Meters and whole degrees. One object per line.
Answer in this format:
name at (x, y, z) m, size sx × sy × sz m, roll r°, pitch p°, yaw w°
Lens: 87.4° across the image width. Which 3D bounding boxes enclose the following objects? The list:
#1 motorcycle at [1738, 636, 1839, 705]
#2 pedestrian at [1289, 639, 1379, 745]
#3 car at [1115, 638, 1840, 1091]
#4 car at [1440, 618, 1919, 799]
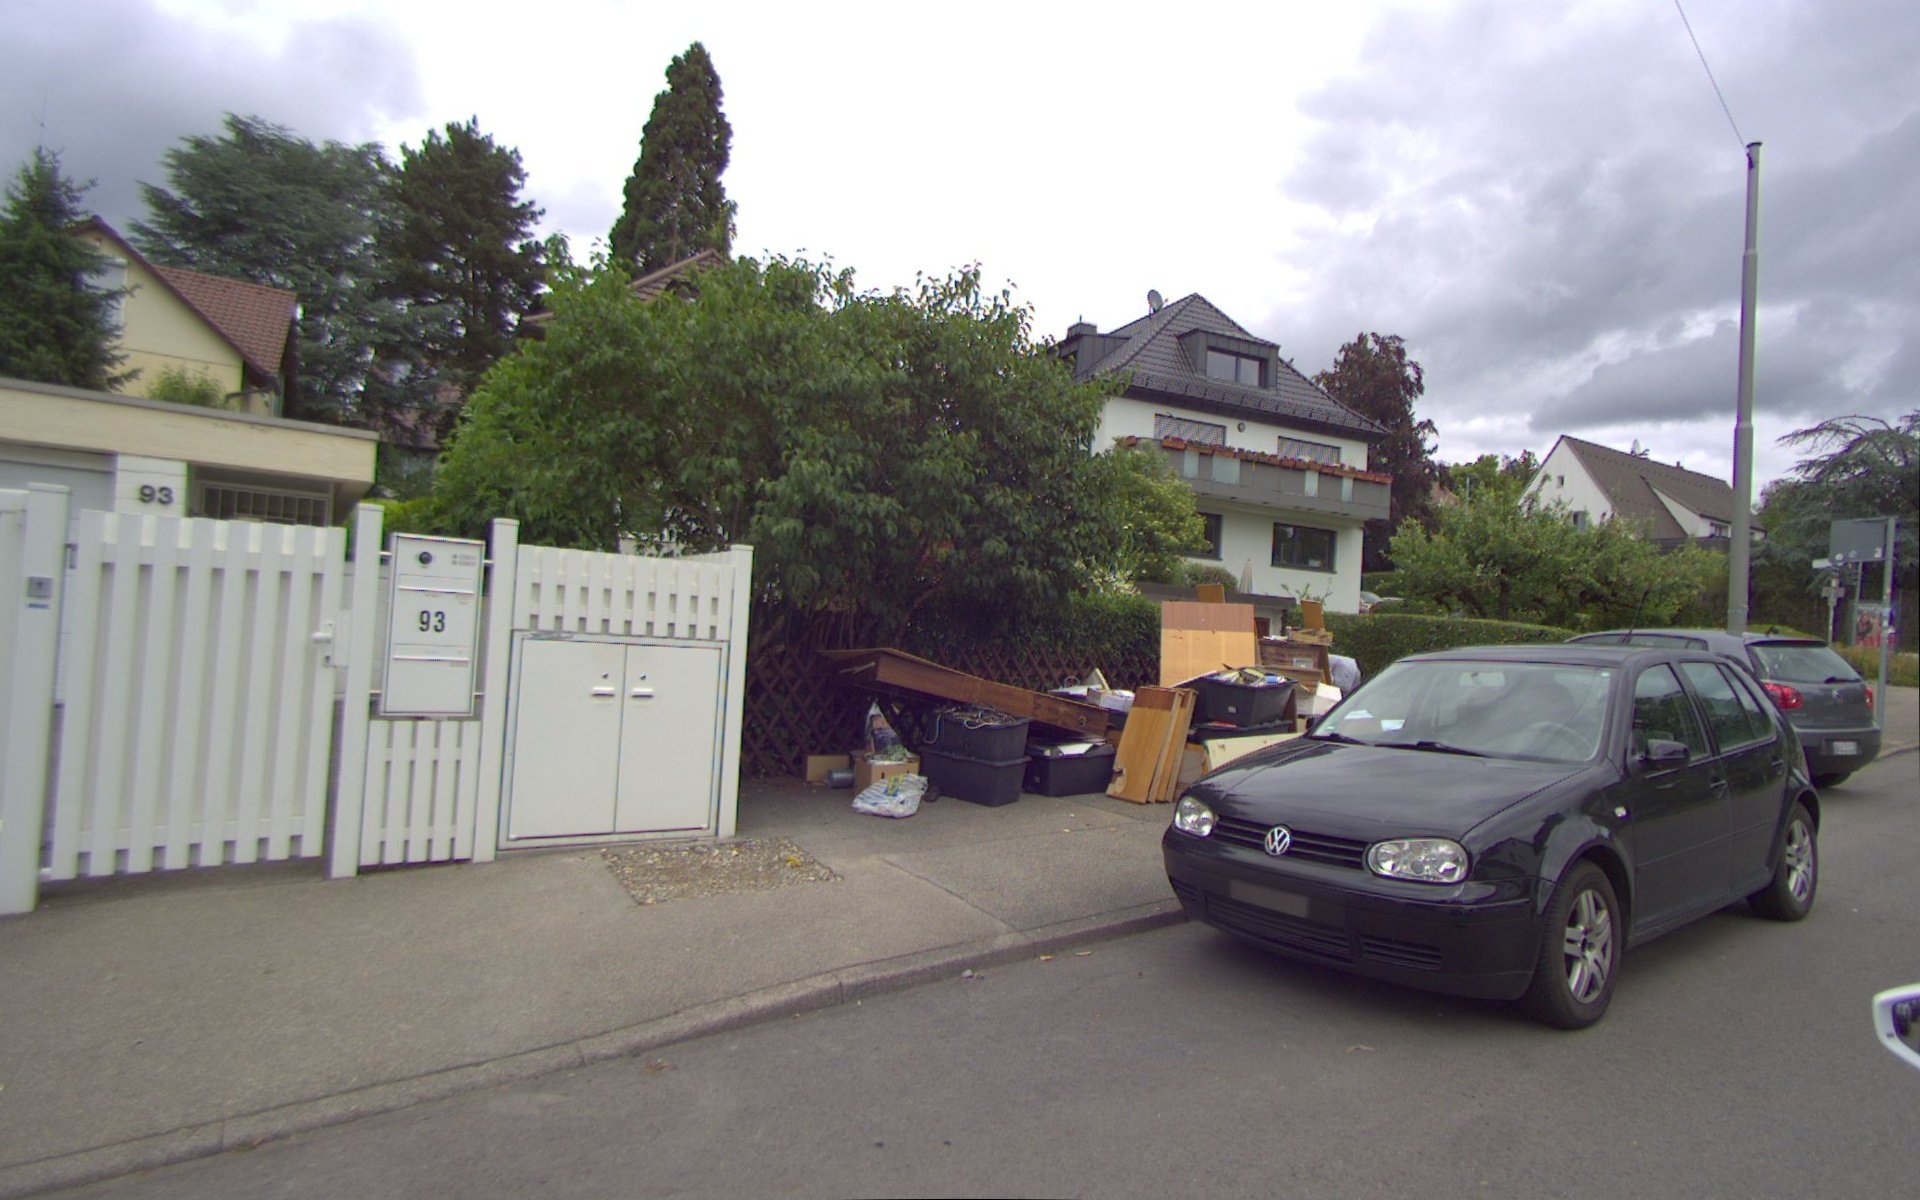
motorcycle at (14.799, 1.225, 17.915) m, size 2.598 × 1.131 × 0.724 m, roll 2°, pitch 1°, yaw -36°
pedestrian at (4.732, 1.141, 12.764) m, size 0.930 × 1.241 × 0.837 m, roll 2°, pitch 0°, yaw 14°
car at (2.755, 0.901, 5.009) m, size 3.950 × 1.413 × 1.626 m, roll 2°, pitch -2°, yaw -36°
car at (7.444, 0.992, 10.885) m, size 1.798 × 1.463 × 3.984 m, roll 1°, pitch 0°, yaw -18°
